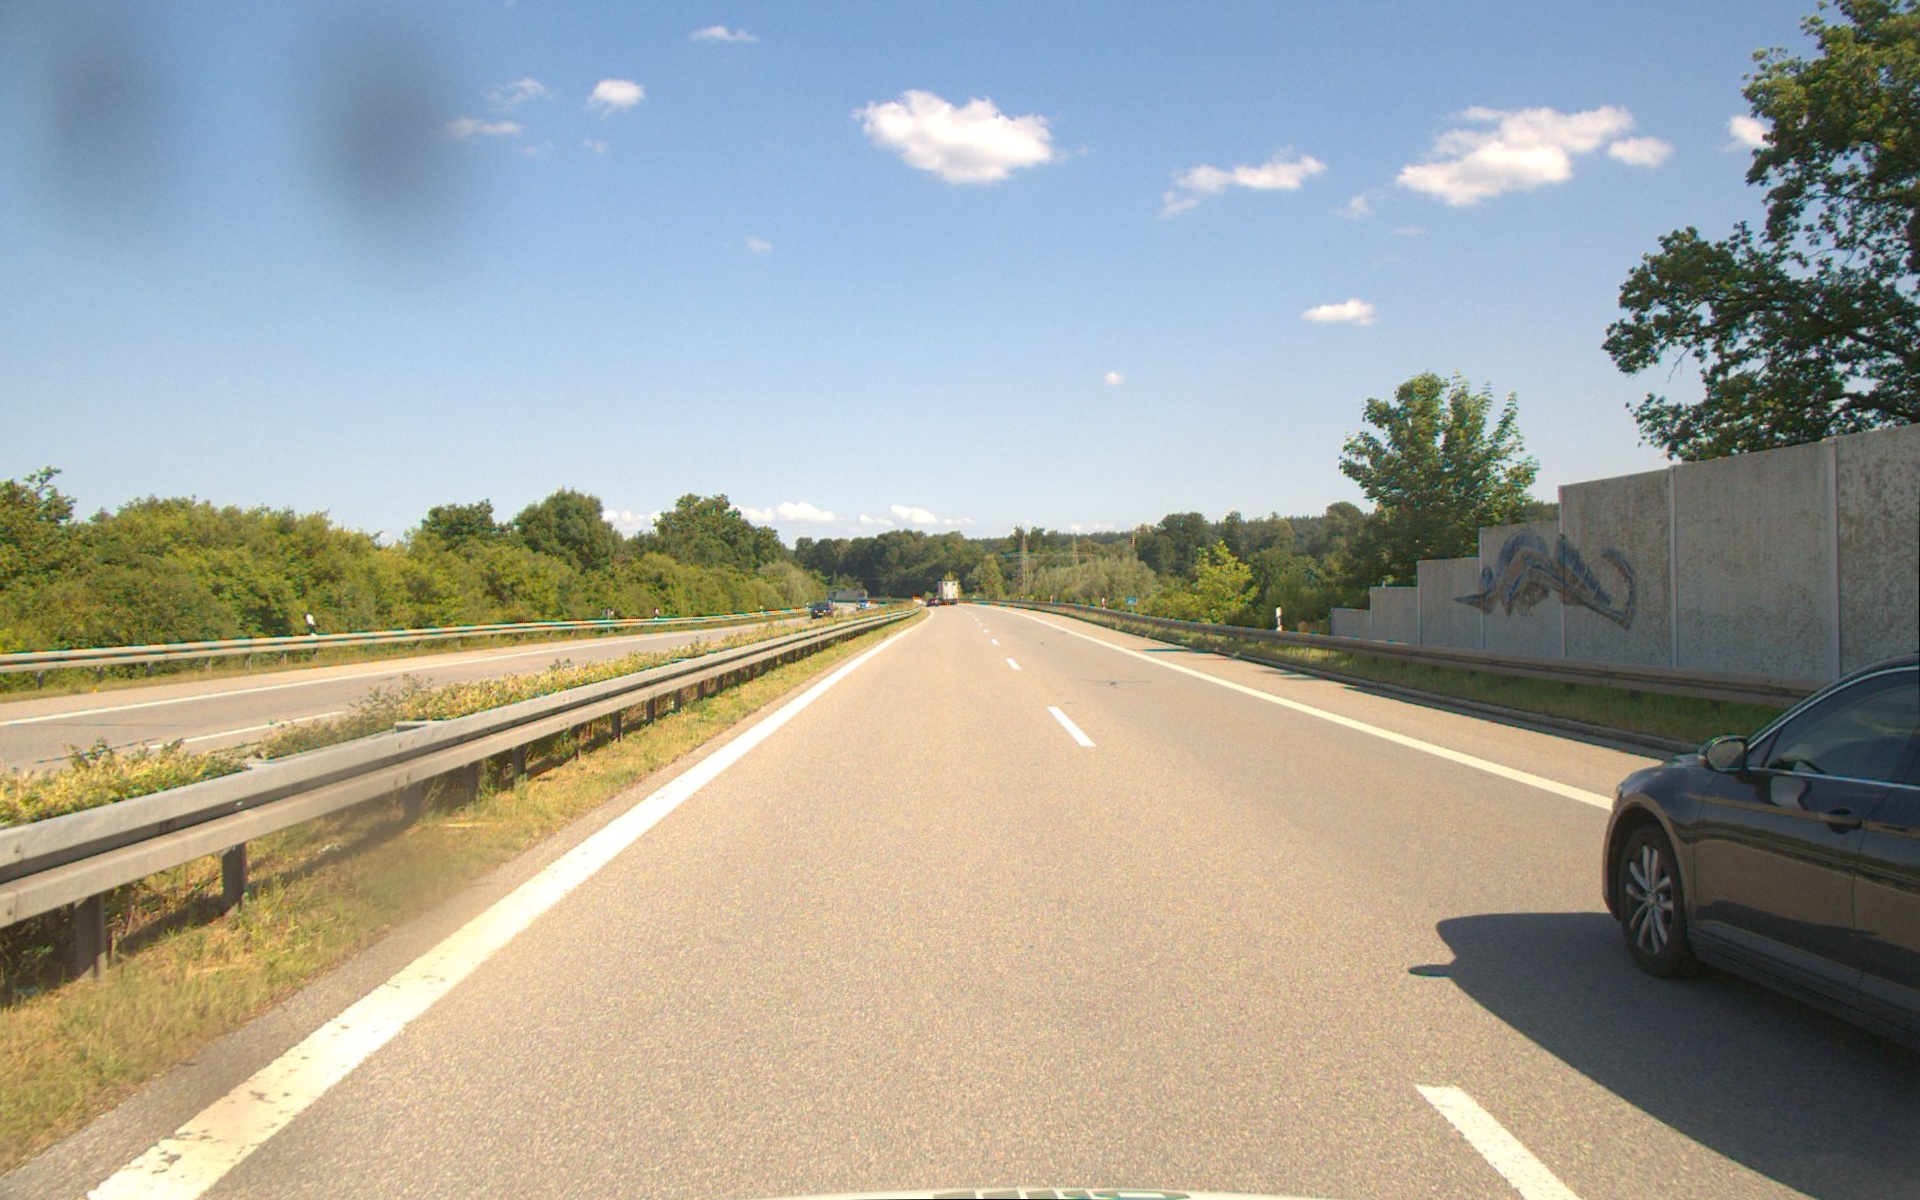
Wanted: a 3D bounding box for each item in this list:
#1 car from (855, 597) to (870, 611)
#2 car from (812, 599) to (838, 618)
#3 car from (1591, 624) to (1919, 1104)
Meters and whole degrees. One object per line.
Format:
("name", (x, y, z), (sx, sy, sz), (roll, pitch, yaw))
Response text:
("car", (-12.482, 0.541, 211.906), (1.871, 1.616, 4.915), (-3, 0, -2))
("car", (-11.507, 0.706, 141.040), (1.703, 1.470, 4.768), (-2, 0, 1))
("car", (3.742, 0.824, 5.226), (1.684, 1.424, 4.412), (1, 0, -2))
